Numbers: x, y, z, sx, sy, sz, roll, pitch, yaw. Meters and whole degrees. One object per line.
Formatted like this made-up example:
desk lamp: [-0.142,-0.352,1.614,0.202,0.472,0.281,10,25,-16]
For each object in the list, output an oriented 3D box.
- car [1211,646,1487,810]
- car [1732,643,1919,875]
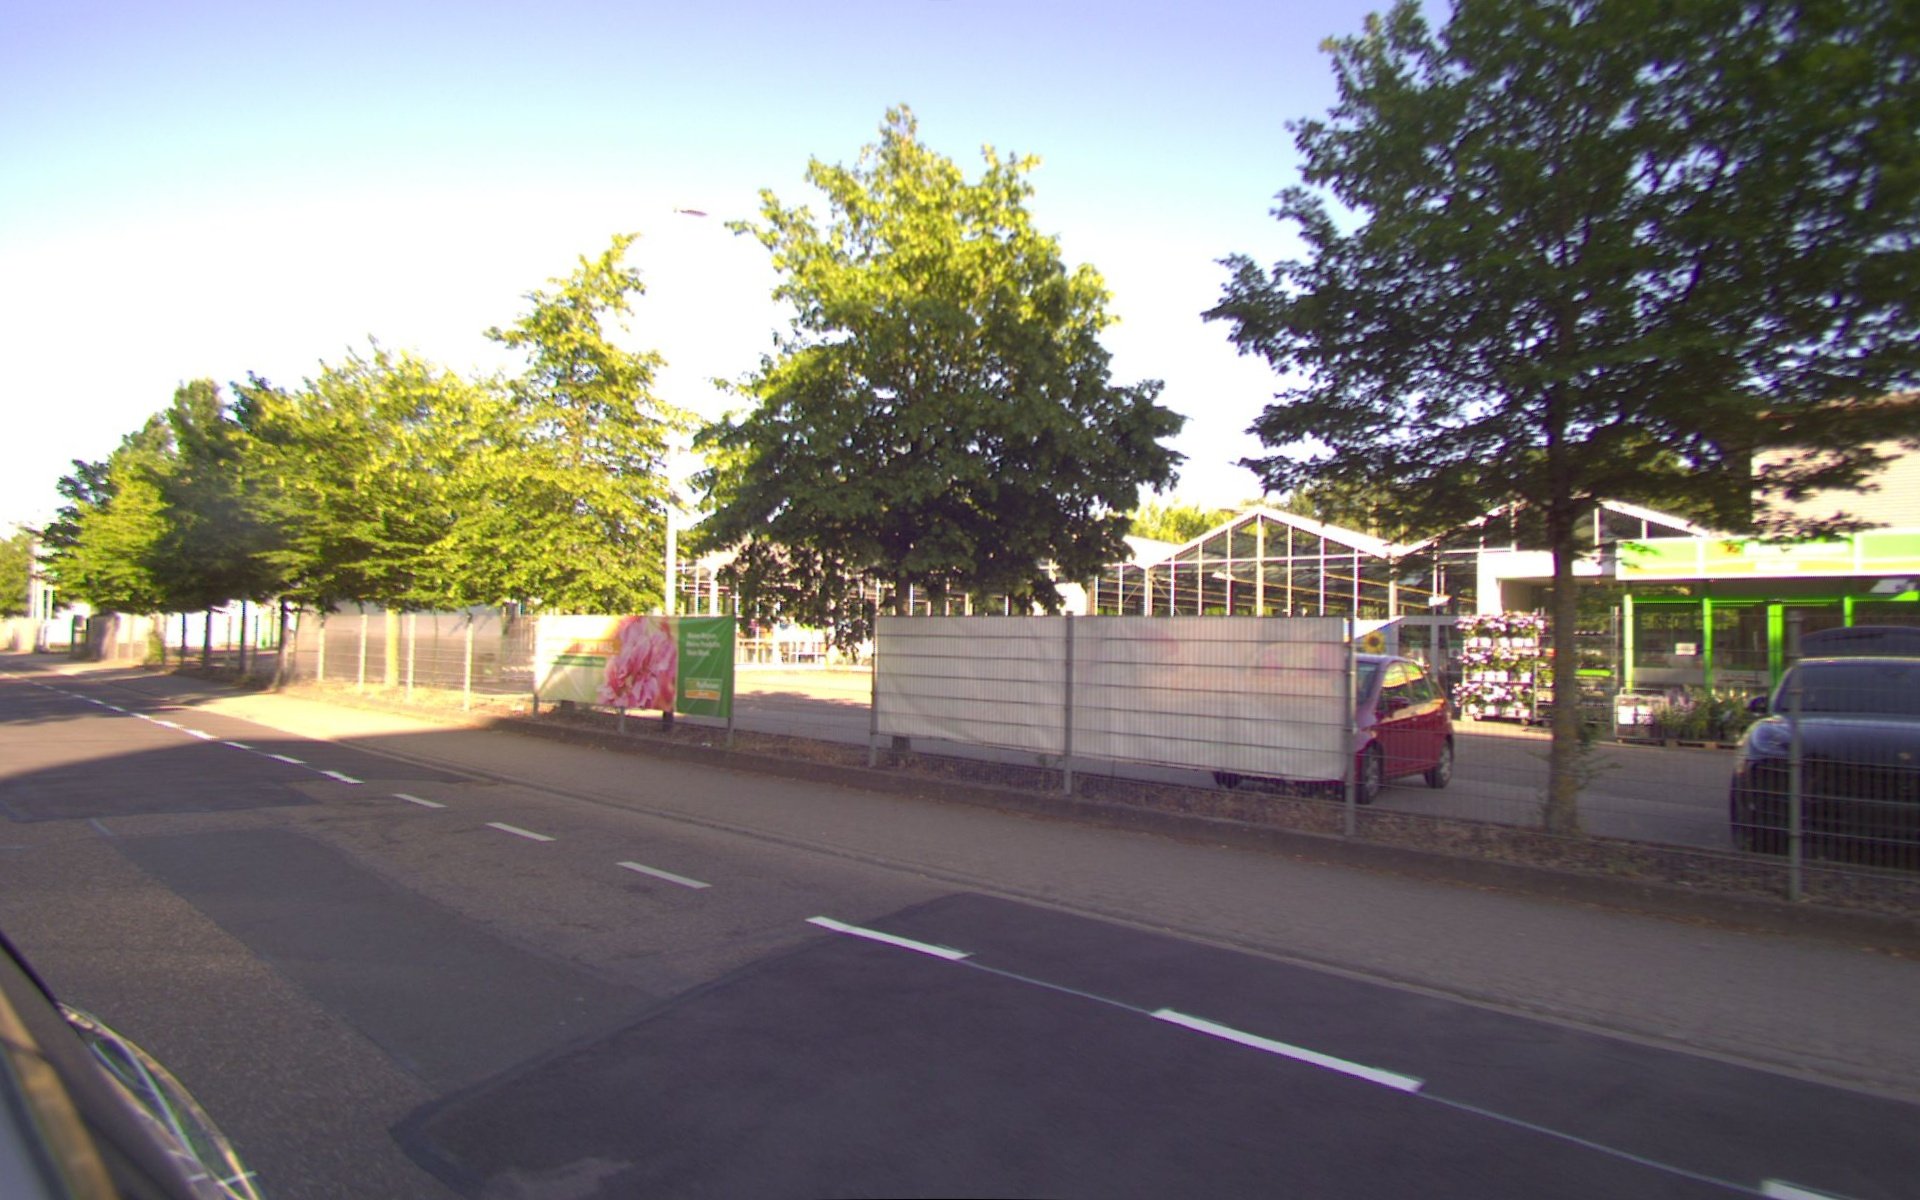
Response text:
car: [4.427,1.349,11.210,1.804,1.462,3.689,-1,-6,39]
car: [7.478,1.196,7.997,2.050,1.462,4.144,-1,-6,39]
